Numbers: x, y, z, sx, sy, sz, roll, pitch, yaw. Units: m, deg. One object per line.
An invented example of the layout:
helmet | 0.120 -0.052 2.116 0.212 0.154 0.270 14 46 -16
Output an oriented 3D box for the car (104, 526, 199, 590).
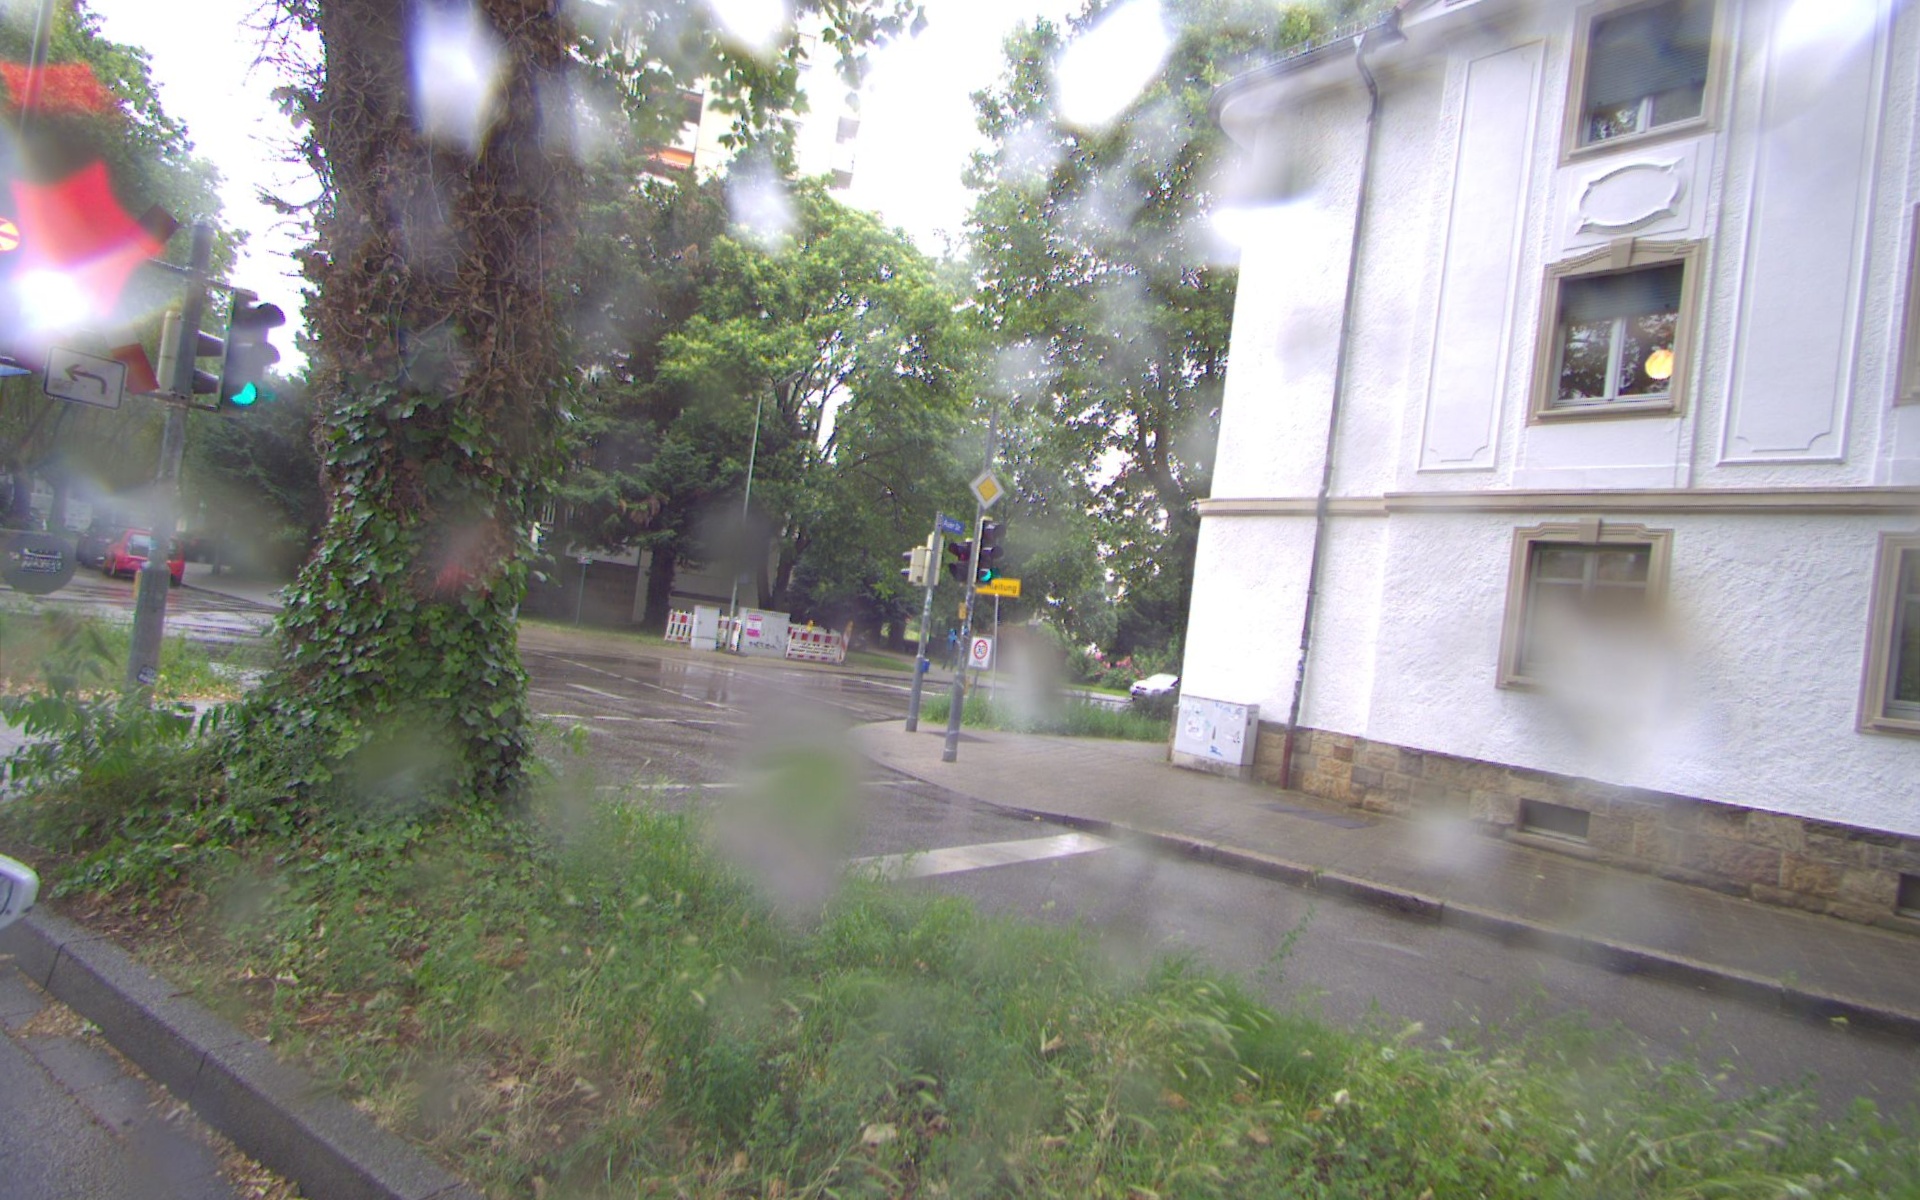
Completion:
car | -24.834 -1.310 30.844 1.788 1.515 3.950 10 -2 -44

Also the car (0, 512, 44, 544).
car | -56.206 -4.376 58.631 1.974 1.565 3.980 6 -3 44

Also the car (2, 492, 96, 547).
car | -61.112 -5.389 67.535 4.680 2.982 2.043 7 -1 12

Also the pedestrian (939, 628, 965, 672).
pedestrian | -0.371 2.288 46.018 0.675 1.863 0.707 8 -1 -44

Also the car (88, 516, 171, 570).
car | -28.100 -1.939 34.001 1.780 1.363 3.879 10 -2 -44

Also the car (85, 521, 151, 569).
car | -38.726 -2.552 46.231 1.918 1.826 3.951 9 -2 -44

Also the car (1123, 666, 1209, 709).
car | 9.409 3.999 45.805 1.829 1.473 3.979 6 -3 45

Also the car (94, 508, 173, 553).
car | -69.649 -5.838 84.817 4.683 2.982 2.001 7 -1 1

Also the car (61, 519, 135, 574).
car | -32.985 -2.079 38.456 1.779 1.747 3.951 9 -2 -44
